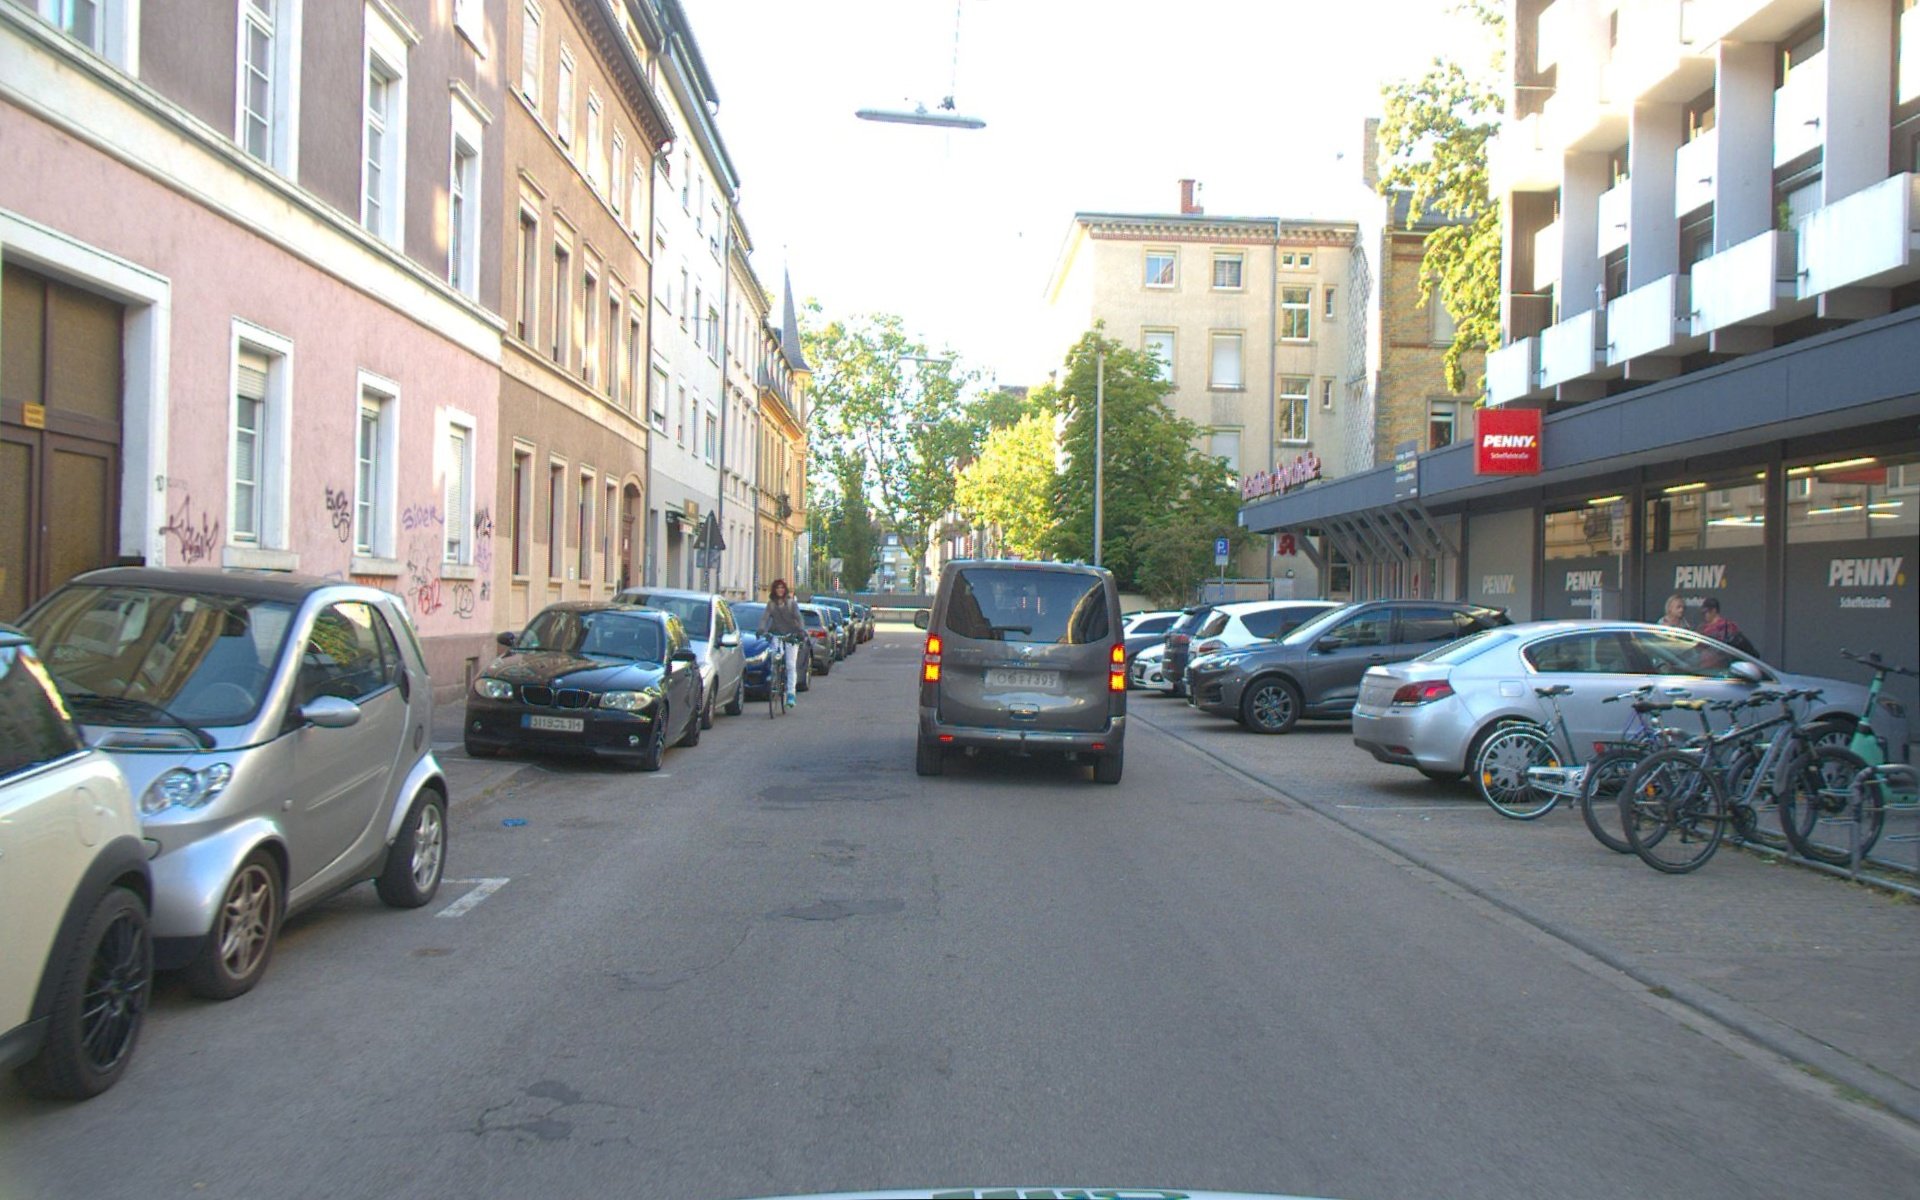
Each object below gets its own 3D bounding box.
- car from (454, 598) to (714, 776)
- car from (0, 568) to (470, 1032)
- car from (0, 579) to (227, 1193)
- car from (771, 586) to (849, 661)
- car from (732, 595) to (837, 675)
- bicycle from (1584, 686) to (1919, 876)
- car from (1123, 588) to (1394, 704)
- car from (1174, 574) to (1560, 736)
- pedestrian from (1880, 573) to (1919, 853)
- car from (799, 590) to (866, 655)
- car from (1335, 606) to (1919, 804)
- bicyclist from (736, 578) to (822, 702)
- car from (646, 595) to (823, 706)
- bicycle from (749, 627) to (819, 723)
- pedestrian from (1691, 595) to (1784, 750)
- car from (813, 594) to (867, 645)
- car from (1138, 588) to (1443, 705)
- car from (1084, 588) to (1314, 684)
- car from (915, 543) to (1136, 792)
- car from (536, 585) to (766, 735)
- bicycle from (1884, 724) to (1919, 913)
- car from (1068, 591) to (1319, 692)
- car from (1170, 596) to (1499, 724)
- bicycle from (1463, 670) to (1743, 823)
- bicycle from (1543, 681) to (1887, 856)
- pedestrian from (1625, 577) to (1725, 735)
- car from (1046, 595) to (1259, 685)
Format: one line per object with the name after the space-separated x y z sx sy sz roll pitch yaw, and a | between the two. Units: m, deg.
-3.465 0.727 16.034 1.753 1.422 4.463 2 0 -4 | car
-3.219 0.671 7.015 1.357 1.559 2.749 2 0 1 | car
-3.165 0.692 3.607 1.678 1.523 3.851 2 0 -5 | car
-4.039 0.606 45.038 1.954 1.891 4.581 2 0 -4 | car
-3.792 0.713 36.452 2.102 1.588 4.581 2 0 -4 | car
4.953 1.085 10.170 2.003 1.067 0.723 0 0 -8 | bicycle
5.291 0.799 29.587 4.390 1.891 1.881 2 0 -9 | car
5.211 0.690 21.595 4.478 1.891 1.999 2 0 -3 | car
6.549 0.708 10.398 0.925 1.751 1.050 0 0 -35 | pedestrian
-4.026 0.678 52.214 1.954 1.891 4.581 2 0 -4 | car
5.772 0.855 14.475 4.532 1.491 1.840 -1 0 -2 | car
-2.398 0.523 22.033 1.013 1.605 0.833 0 0 3 | bicyclist
-3.545 0.752 26.846 1.952 1.588 4.587 2 0 3 | car
-2.316 0.963 21.957 0.608 1.158 2.258 0 0 2 | bicycle
8.770 0.801 18.698 0.885 1.690 0.871 1 0 22 | pedestrian
-4.715 0.738 64.967 1.954 1.891 4.581 2 0 -4 | car
5.375 0.745 27.209 4.484 1.735 1.996 2 0 -9 | car
5.100 0.763 35.577 4.484 1.891 1.996 2 0 -9 | car
0.573 0.555 15.759 1.819 2.049 4.000 -1 0 1 | car
-3.757 0.677 20.939 1.952 1.633 4.585 2 0 1 | car
5.962 1.144 8.597 2.003 0.951 0.723 0 0 -8 | bicycle
4.547 0.797 32.582 4.484 1.823 1.996 2 0 -9 | car
5.460 0.855 24.390 4.369 1.705 1.795 2 0 -6 | car
4.848 1.092 12.551 1.859 1.085 0.679 0 0 2 | bicycle
4.980 1.090 10.961 2.002 1.067 0.723 0 0 -7 | bicycle
9.233 0.707 21.406 1.063 1.979 0.872 1 0 16 | pedestrian
4.379 0.895 37.983 4.484 1.891 1.996 2 0 -9 | car
